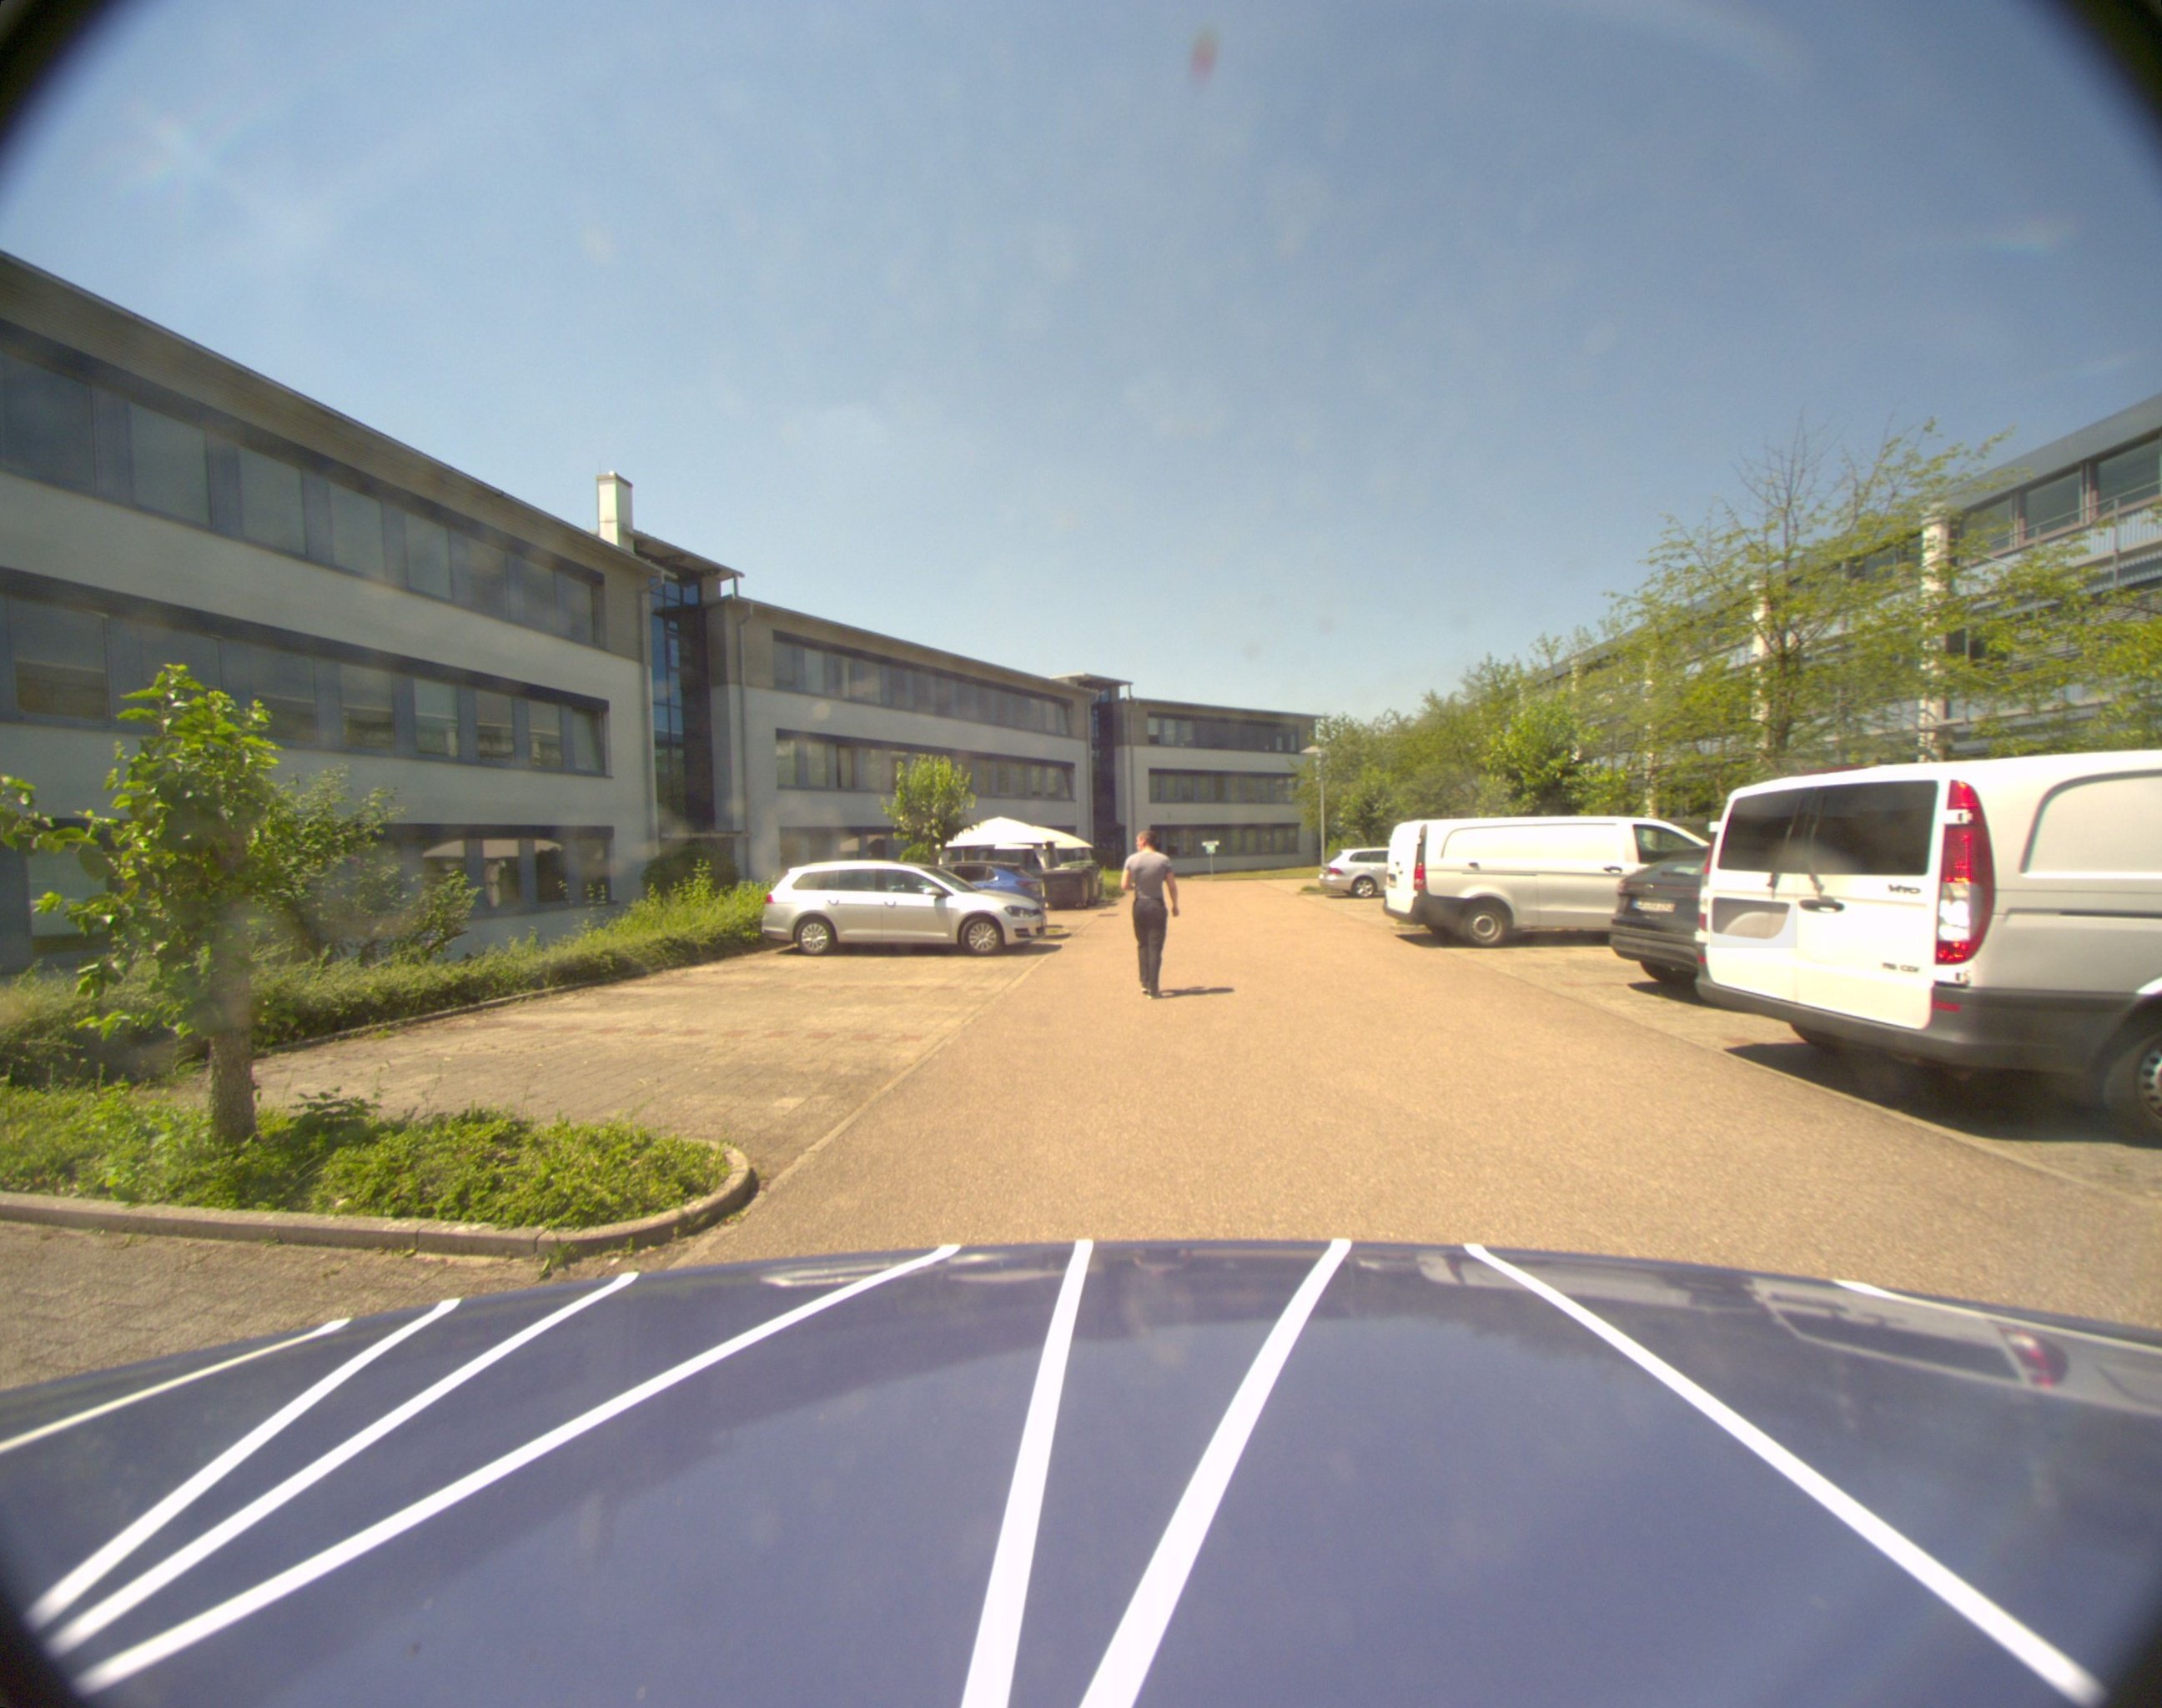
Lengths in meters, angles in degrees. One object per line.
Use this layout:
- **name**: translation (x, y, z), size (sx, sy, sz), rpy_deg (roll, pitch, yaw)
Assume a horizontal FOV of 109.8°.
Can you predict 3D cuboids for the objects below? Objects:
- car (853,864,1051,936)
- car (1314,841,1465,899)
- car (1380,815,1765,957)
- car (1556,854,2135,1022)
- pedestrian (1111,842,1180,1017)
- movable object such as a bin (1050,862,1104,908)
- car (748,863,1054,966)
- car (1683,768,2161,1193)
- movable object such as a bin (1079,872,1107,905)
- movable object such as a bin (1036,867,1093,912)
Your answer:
- **car**: translation (-2.644, 0.917, 16.057), size (3.822, 1.384, 1.652), rpy_deg (0, 1, 6)
- **car**: translation (8.968, 0.455, 22.309), size (3.761, 1.549, 1.661), rpy_deg (-1, 1, 6)
- **car**: translation (7.100, 0.454, 11.413), size (4.515, 1.871, 1.830), rpy_deg (-1, 1, 6)
- **car**: translation (7.061, 0.752, 7.384), size (3.847, 1.385, 1.577), rpy_deg (-1, 1, 5)
- **pedestrian**: translation (0.697, 0.756, 8.016), size (0.618, 1.747, 0.788), rpy_deg (-1, 1, 10)
- **movable object such as a bin**: translation (-0.093, 0.895, 22.205), size (1.362, 1.288, 1.044), rpy_deg (-1, 1, 12)
- **car**: translation (-2.805, 0.926, 12.447), size (4.515, 1.488, 1.830), rpy_deg (0, 1, 6)
- **car**: translation (6.452, 0.517, 4.138), size (4.730, 1.895, 1.830), rpy_deg (-1, 1, 5)
- **movable object such as a bin**: translation (0.361, 1.041, 23.054), size (0.690, 0.944, 0.723), rpy_deg (-1, 1, 12)
- **movable object such as a bin**: translation (-0.440, 0.978, 21.192), size (1.362, 1.183, 0.998), rpy_deg (-1, 1, 12)
